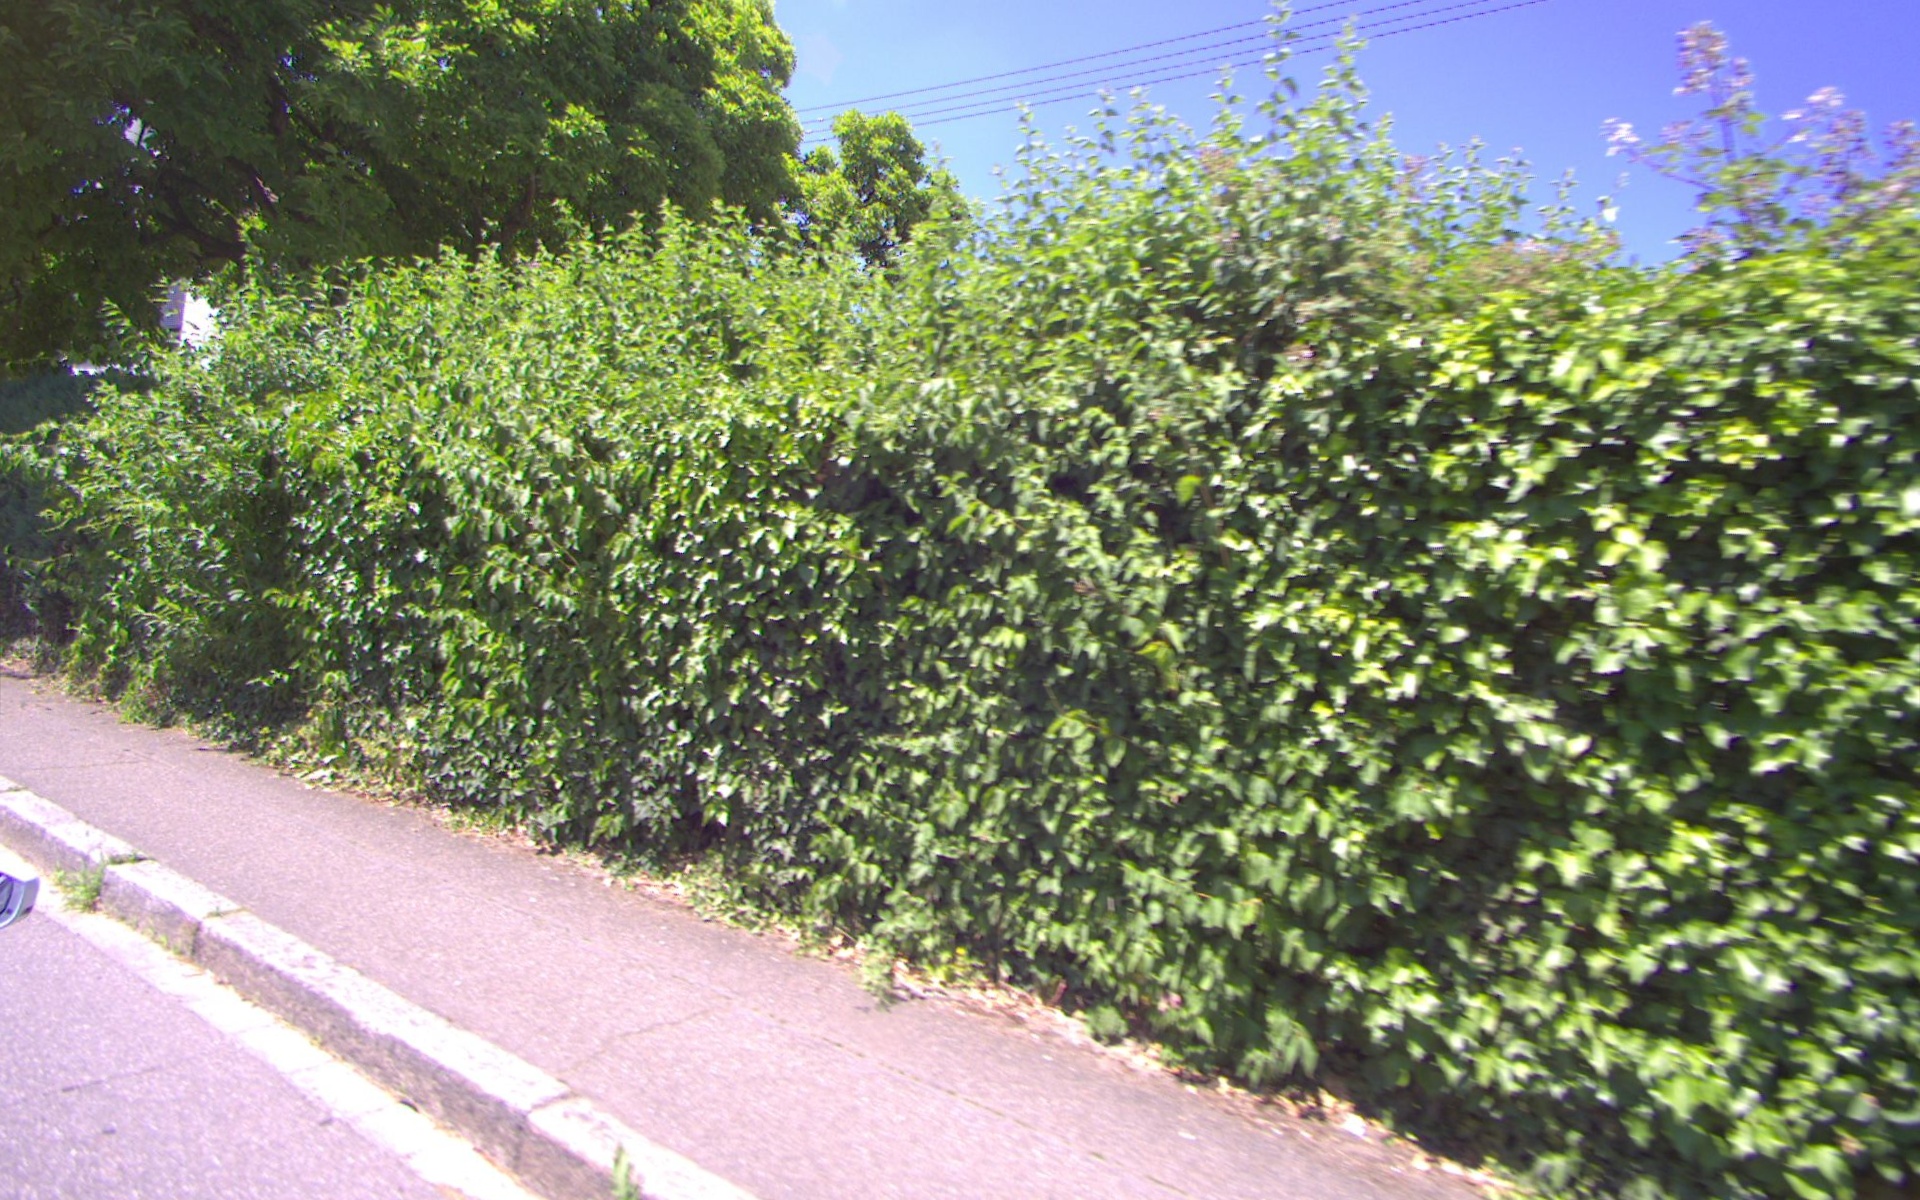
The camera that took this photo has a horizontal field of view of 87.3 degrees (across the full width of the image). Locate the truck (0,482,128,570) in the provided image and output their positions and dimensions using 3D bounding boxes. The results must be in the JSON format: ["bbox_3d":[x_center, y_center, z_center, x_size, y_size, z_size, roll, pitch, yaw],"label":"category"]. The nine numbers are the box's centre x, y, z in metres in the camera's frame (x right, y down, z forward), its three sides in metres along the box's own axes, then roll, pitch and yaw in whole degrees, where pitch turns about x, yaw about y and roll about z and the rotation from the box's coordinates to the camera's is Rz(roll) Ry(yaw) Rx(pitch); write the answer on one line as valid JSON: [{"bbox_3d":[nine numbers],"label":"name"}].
[{"bbox_3d":[-30.236,-2.610,31.084,1.943,2.190,6.641,8,-3,22],"label":"truck"}]
